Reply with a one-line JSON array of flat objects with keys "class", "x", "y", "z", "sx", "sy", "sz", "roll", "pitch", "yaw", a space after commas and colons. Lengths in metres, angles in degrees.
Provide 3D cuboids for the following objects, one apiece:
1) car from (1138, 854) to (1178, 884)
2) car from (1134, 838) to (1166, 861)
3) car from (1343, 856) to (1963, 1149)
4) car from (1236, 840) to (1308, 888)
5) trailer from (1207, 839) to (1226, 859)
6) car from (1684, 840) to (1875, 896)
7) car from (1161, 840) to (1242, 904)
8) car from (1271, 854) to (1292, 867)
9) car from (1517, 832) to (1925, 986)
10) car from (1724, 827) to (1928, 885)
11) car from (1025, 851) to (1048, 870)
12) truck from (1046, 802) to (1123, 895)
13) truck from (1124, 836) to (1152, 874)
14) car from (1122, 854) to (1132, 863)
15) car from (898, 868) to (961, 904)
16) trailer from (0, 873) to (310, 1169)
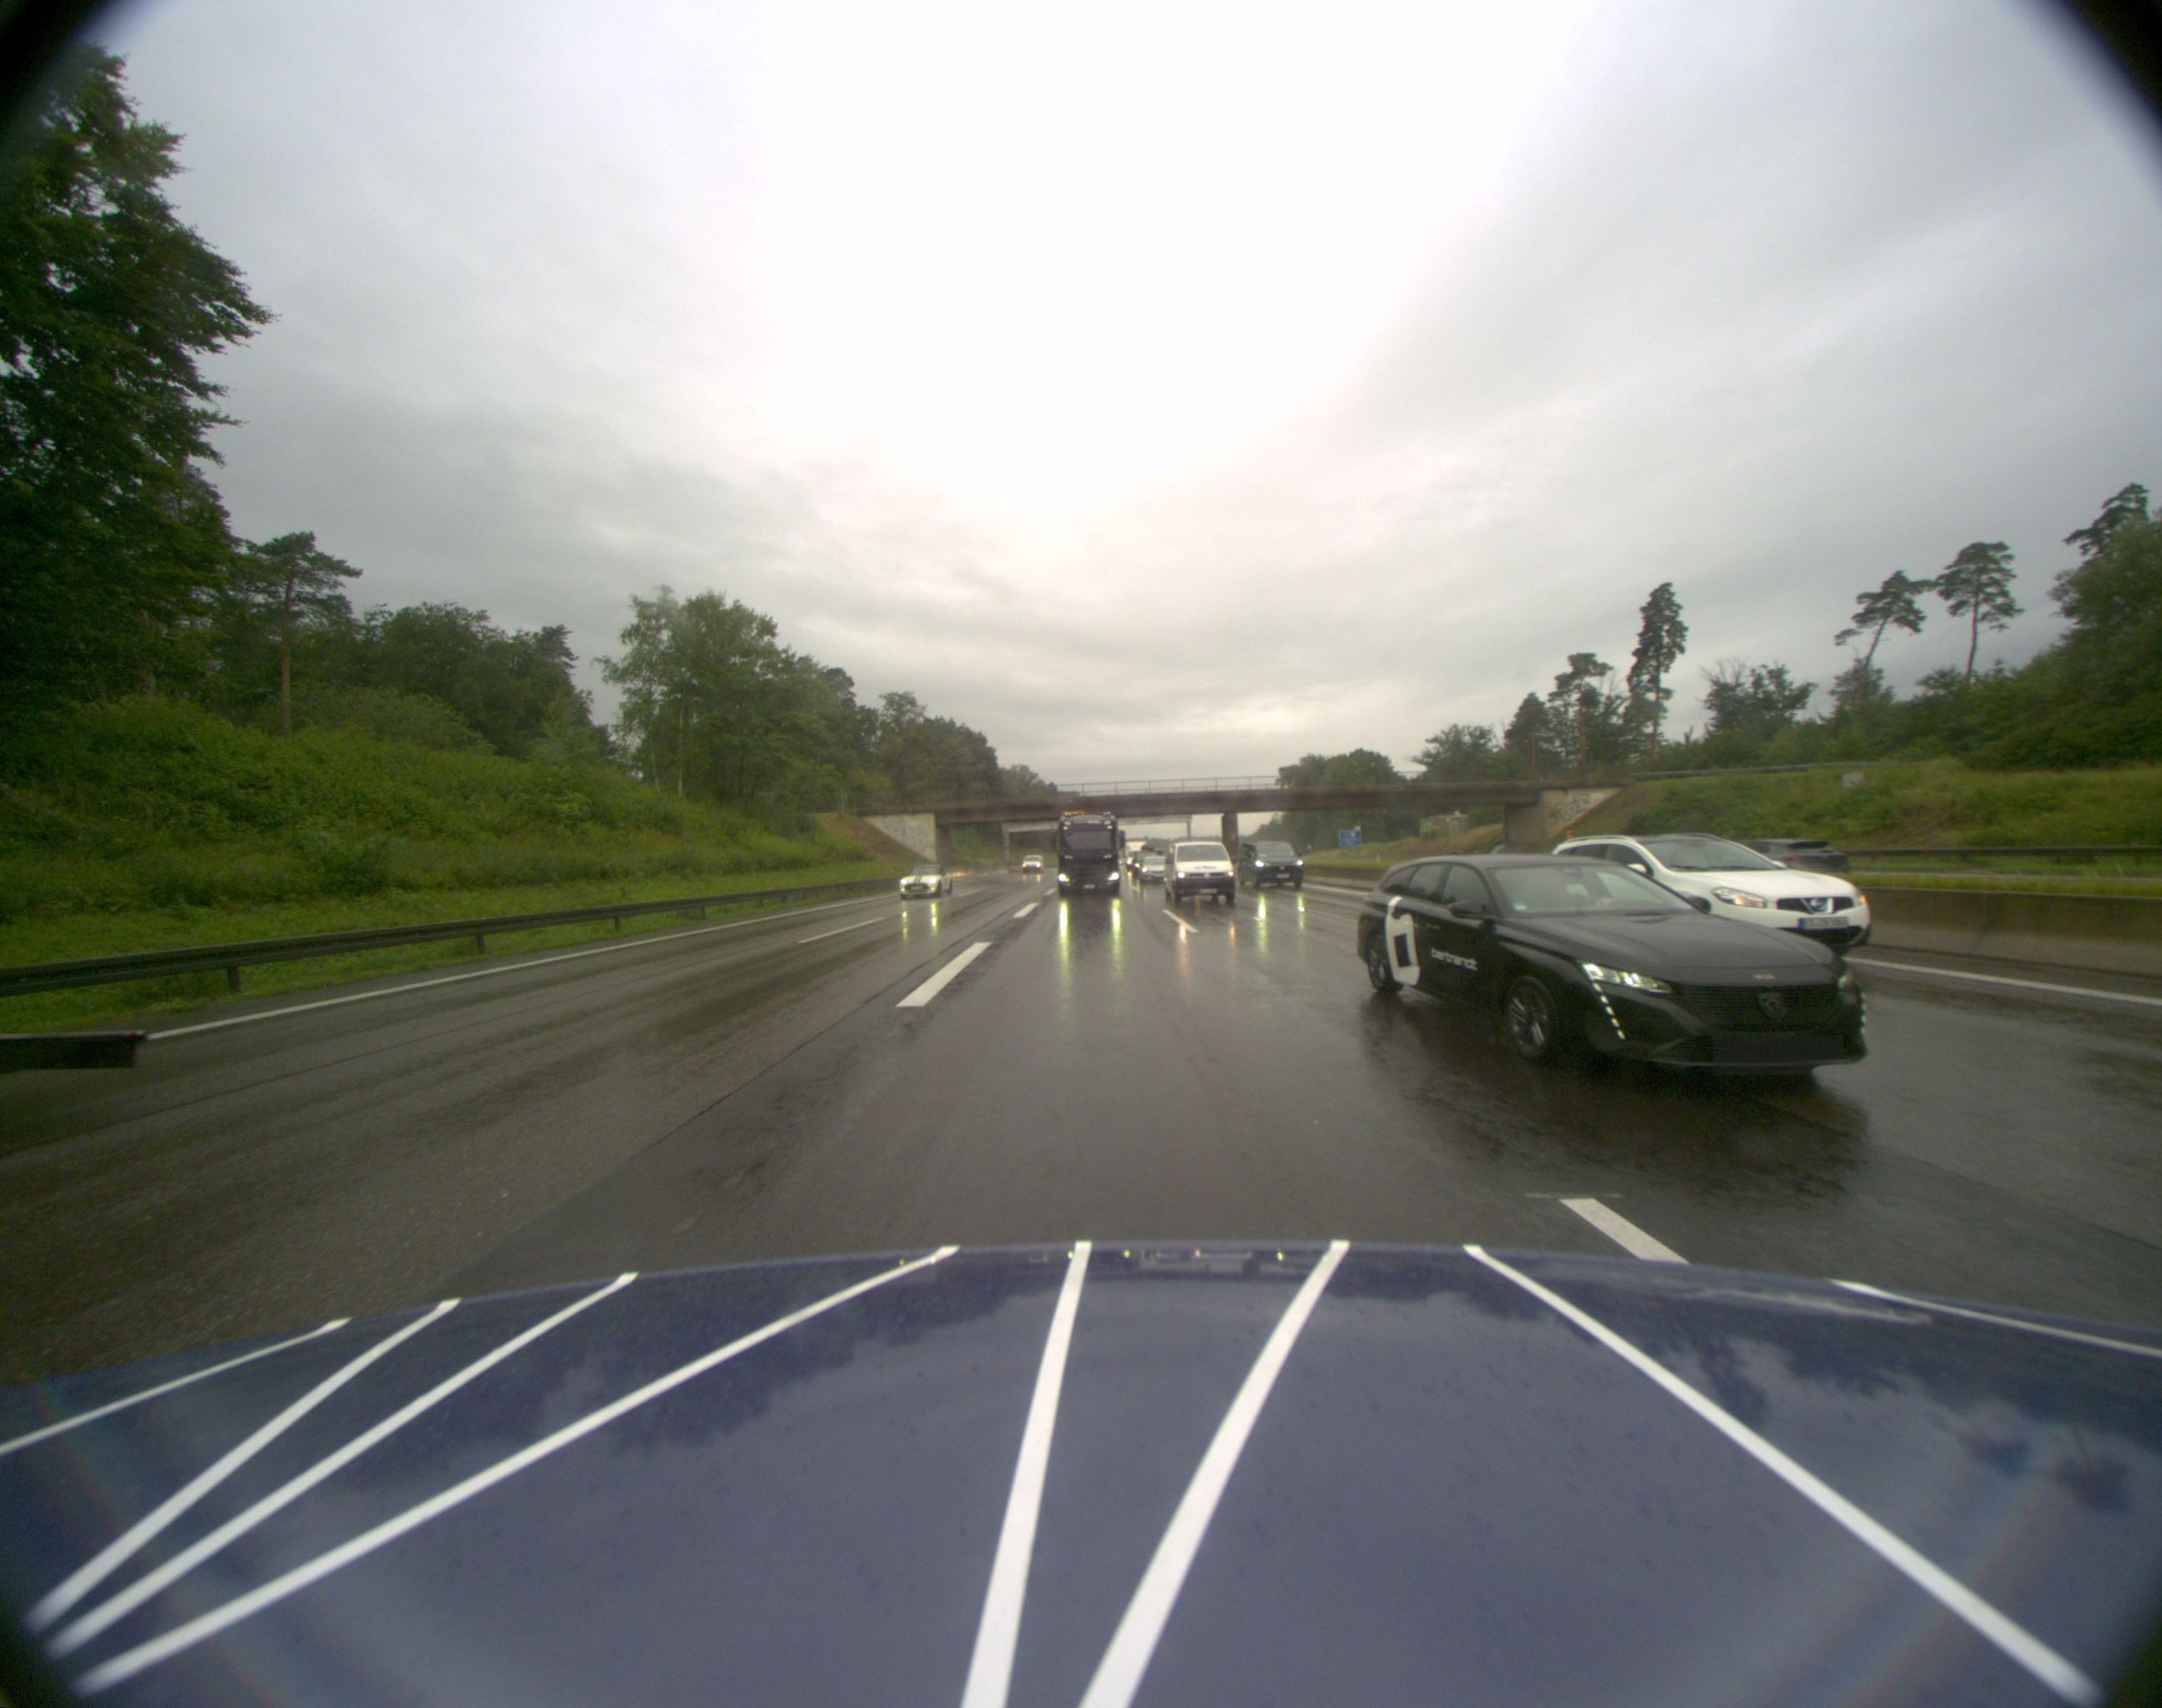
[{"class": "car", "x": 4.273, "y": 0.808, "z": 42.586, "sx": 1.850, "sy": 1.496, "sz": 4.466, "roll": -2, "pitch": 1, "yaw": 2}, {"class": "car", "x": 4.896, "y": -0.308, "z": 54.494, "sx": 1.994, "sy": 1.551, "sz": 4.767, "roll": -2, "pitch": 0, "yaw": 2}, {"class": "car", "x": 3.841, "y": 0.813, "z": 6.317, "sx": 1.850, "sy": 1.496, "sz": 4.466, "roll": -2, "pitch": 0, "yaw": 2}, {"class": "car", "x": 8.302, "y": 0.375, "z": 33.526, "sx": 1.996, "sy": 1.933, "sz": 5.243, "roll": -1, "pitch": 1, "yaw": 2}, {"class": "trailer", "x": 34.221, "y": -1.279, "z": 191.913, "sx": 3.212, "sy": 4.785, "sz": 13.349, "roll": -2, "pitch": 0, "yaw": 4}, {"class": "car", "x": 19.565, "y": 0.364, "z": 21.545, "sx": 1.720, "sy": 1.382, "sz": 3.952, "roll": -2, "pitch": 0, "yaw": -1}, {"class": "car", "x": 3.843, "y": 0.538, "z": 25.100, "sx": 1.995, "sy": 1.869, "sz": 4.767, "roll": -2, "pitch": 0, "yaw": 2}, {"class": "car", "x": 27.434, "y": 0.872, "z": 103.996, "sx": 1.850, "sy": 1.582, "sz": 3.944, "roll": -2, "pitch": 0, "yaw": 2}, {"class": "car", "x": 8.113, "y": 0.587, "z": 10.350, "sx": 1.850, "sy": 1.582, "sz": 4.466, "roll": -2, "pitch": 0, "yaw": 2}, {"class": "car", "x": 19.446, "y": 0.044, "z": 20.093, "sx": 1.806, "sy": 1.337, "sz": 3.676, "roll": -2, "pitch": 0, "yaw": 1}, {"class": "car", "x": -4.774, "y": 0.666, "z": 82.405, "sx": 1.994, "sy": 1.910, "sz": 4.767, "roll": -2, "pitch": 0, "yaw": 2}, {"class": "truck", "x": 0.319, "y": -0.287, "z": 35.108, "sx": 2.879, "sy": 3.528, "sz": 10.911, "roll": -2, "pitch": 1, "yaw": 2}, {"class": "truck", "x": 6.165, "y": 0.092, "z": 82.611, "sx": 2.521, "sy": 3.941, "sz": 6.994, "roll": -2, "pitch": 0, "yaw": 1}, {"class": "car", "x": 9.982, "y": 0.983, "z": 165.120, "sx": 1.998, "sy": 2.002, "sz": 3.999, "roll": -2, "pitch": 0, "yaw": 0}, {"class": "car", "x": -6.751, "y": 1.401, "z": 34.262, "sx": 1.795, "sy": 1.399, "sz": 4.228, "roll": -2, "pitch": 0, "yaw": 2}, {"class": "trailer", "x": -7.533, "y": 1.048, "z": 3.723, "sx": 2.249, "sy": 1.704, "sz": 5.082, "roll": -2, "pitch": 0, "yaw": 0}]
